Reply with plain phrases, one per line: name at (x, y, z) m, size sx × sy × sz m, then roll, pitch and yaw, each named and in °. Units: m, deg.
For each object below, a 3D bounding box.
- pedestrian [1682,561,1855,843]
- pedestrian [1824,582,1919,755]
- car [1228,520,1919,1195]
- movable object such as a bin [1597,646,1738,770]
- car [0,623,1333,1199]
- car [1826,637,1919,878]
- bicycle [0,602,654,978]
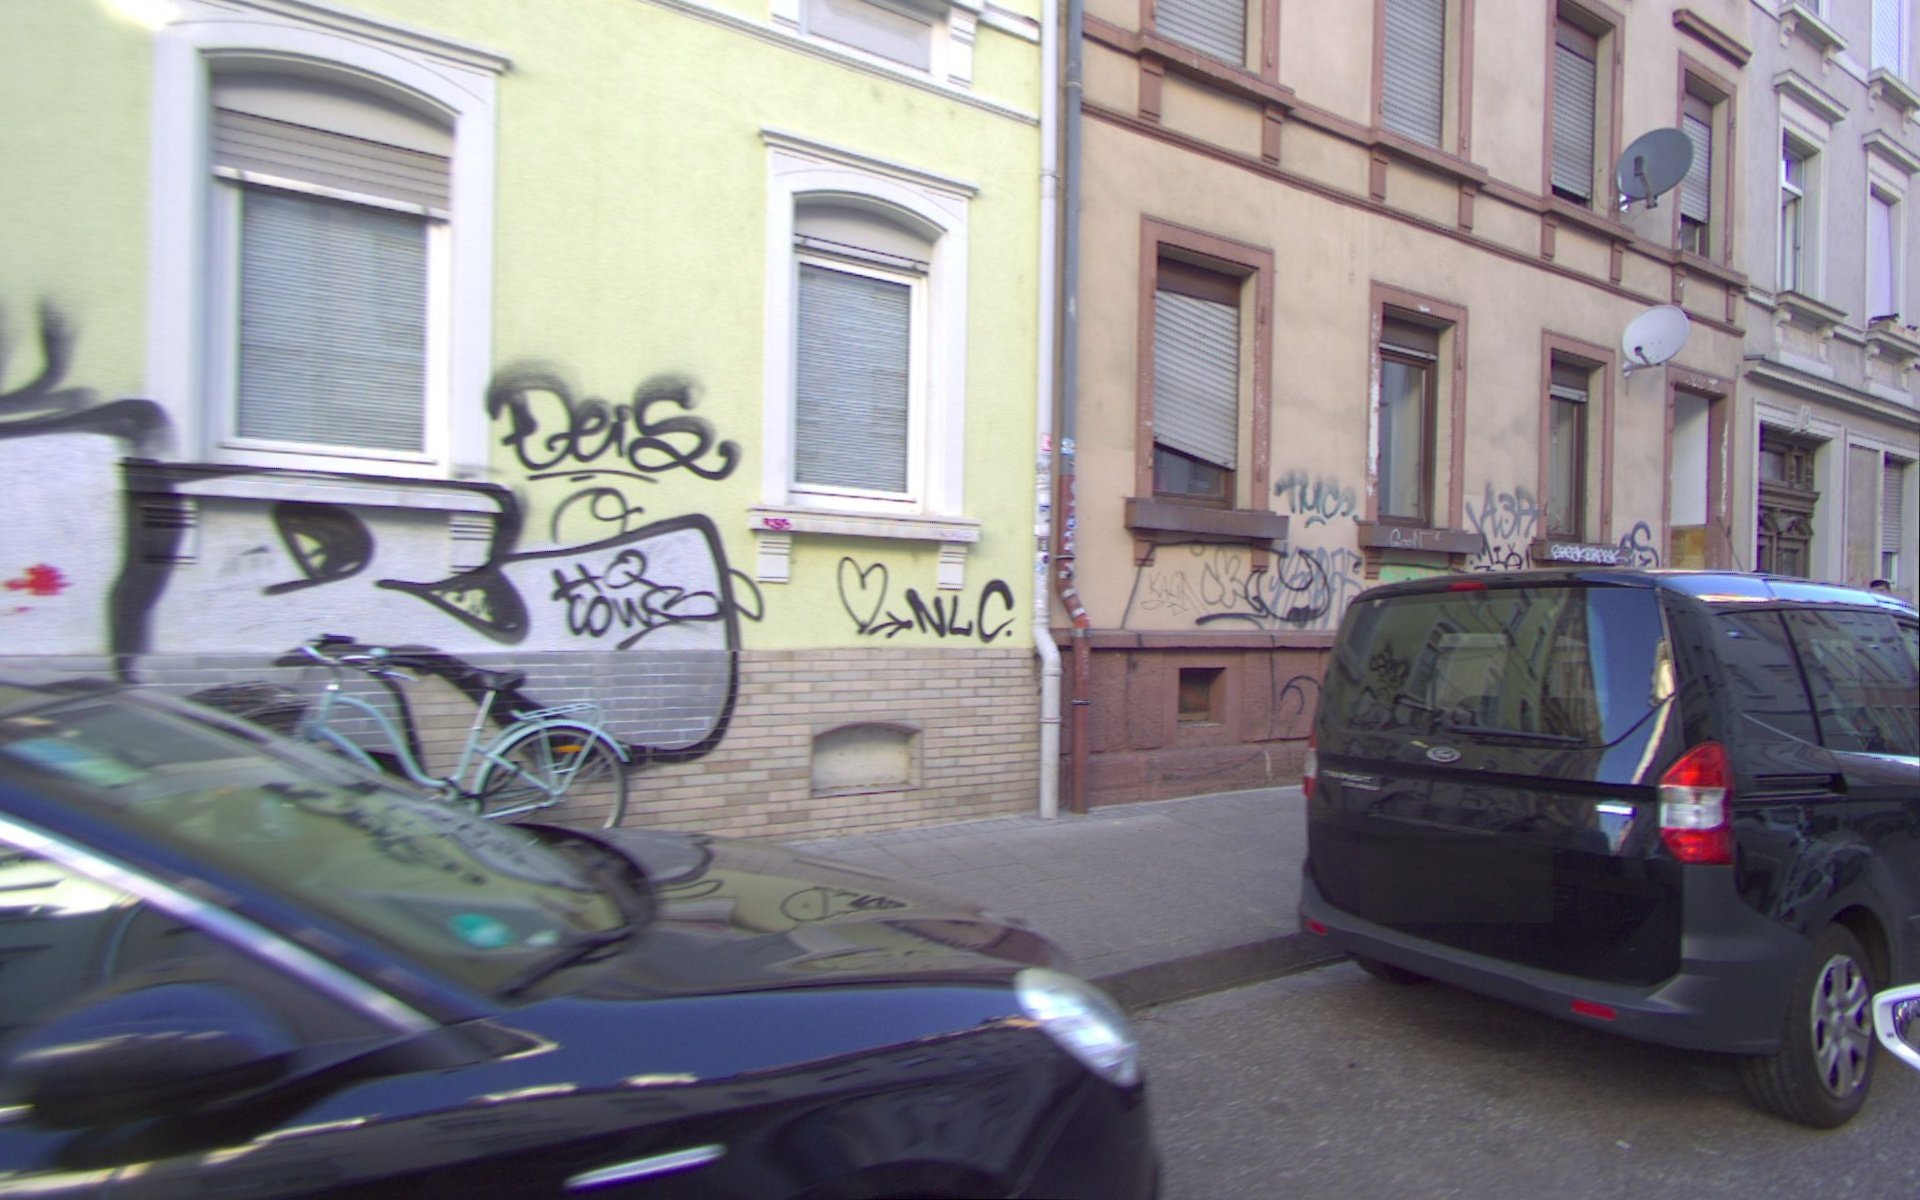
pedestrian at (5.629, 0.661, 7.005) m, size 0.745 × 1.842 × 0.648 m, roll 1°, pitch 2°, yaw -30°
pedestrian at (10.437, 0.752, 11.455) m, size 0.745 × 1.883 × 0.607 m, roll 1°, pitch 2°, yaw -31°
car at (3.255, 0.733, 4.383) m, size 3.954 × 1.720 × 1.792 m, roll 1°, pitch -3°, yaw -31°
movable object such as a bin at (6.764, 1.003, 9.624) m, size 0.747 × 1.039 × 0.786 m, roll 1°, pitch 4°, yaw -28°
car at (-1.458, 0.765, 1.547) m, size 3.953 × 1.446 × 1.728 m, roll 1°, pitch -1°, yaw -30°
car at (7.575, 0.990, 6.730) m, size 3.610 × 1.459 × 1.585 m, roll 1°, pitch -1°, yaw -30°
bicycle at (-2.558, 0.673, 4.268) m, size 2.300 × 1.262 × 0.664 m, roll 1°, pitch 2°, yaw -31°
